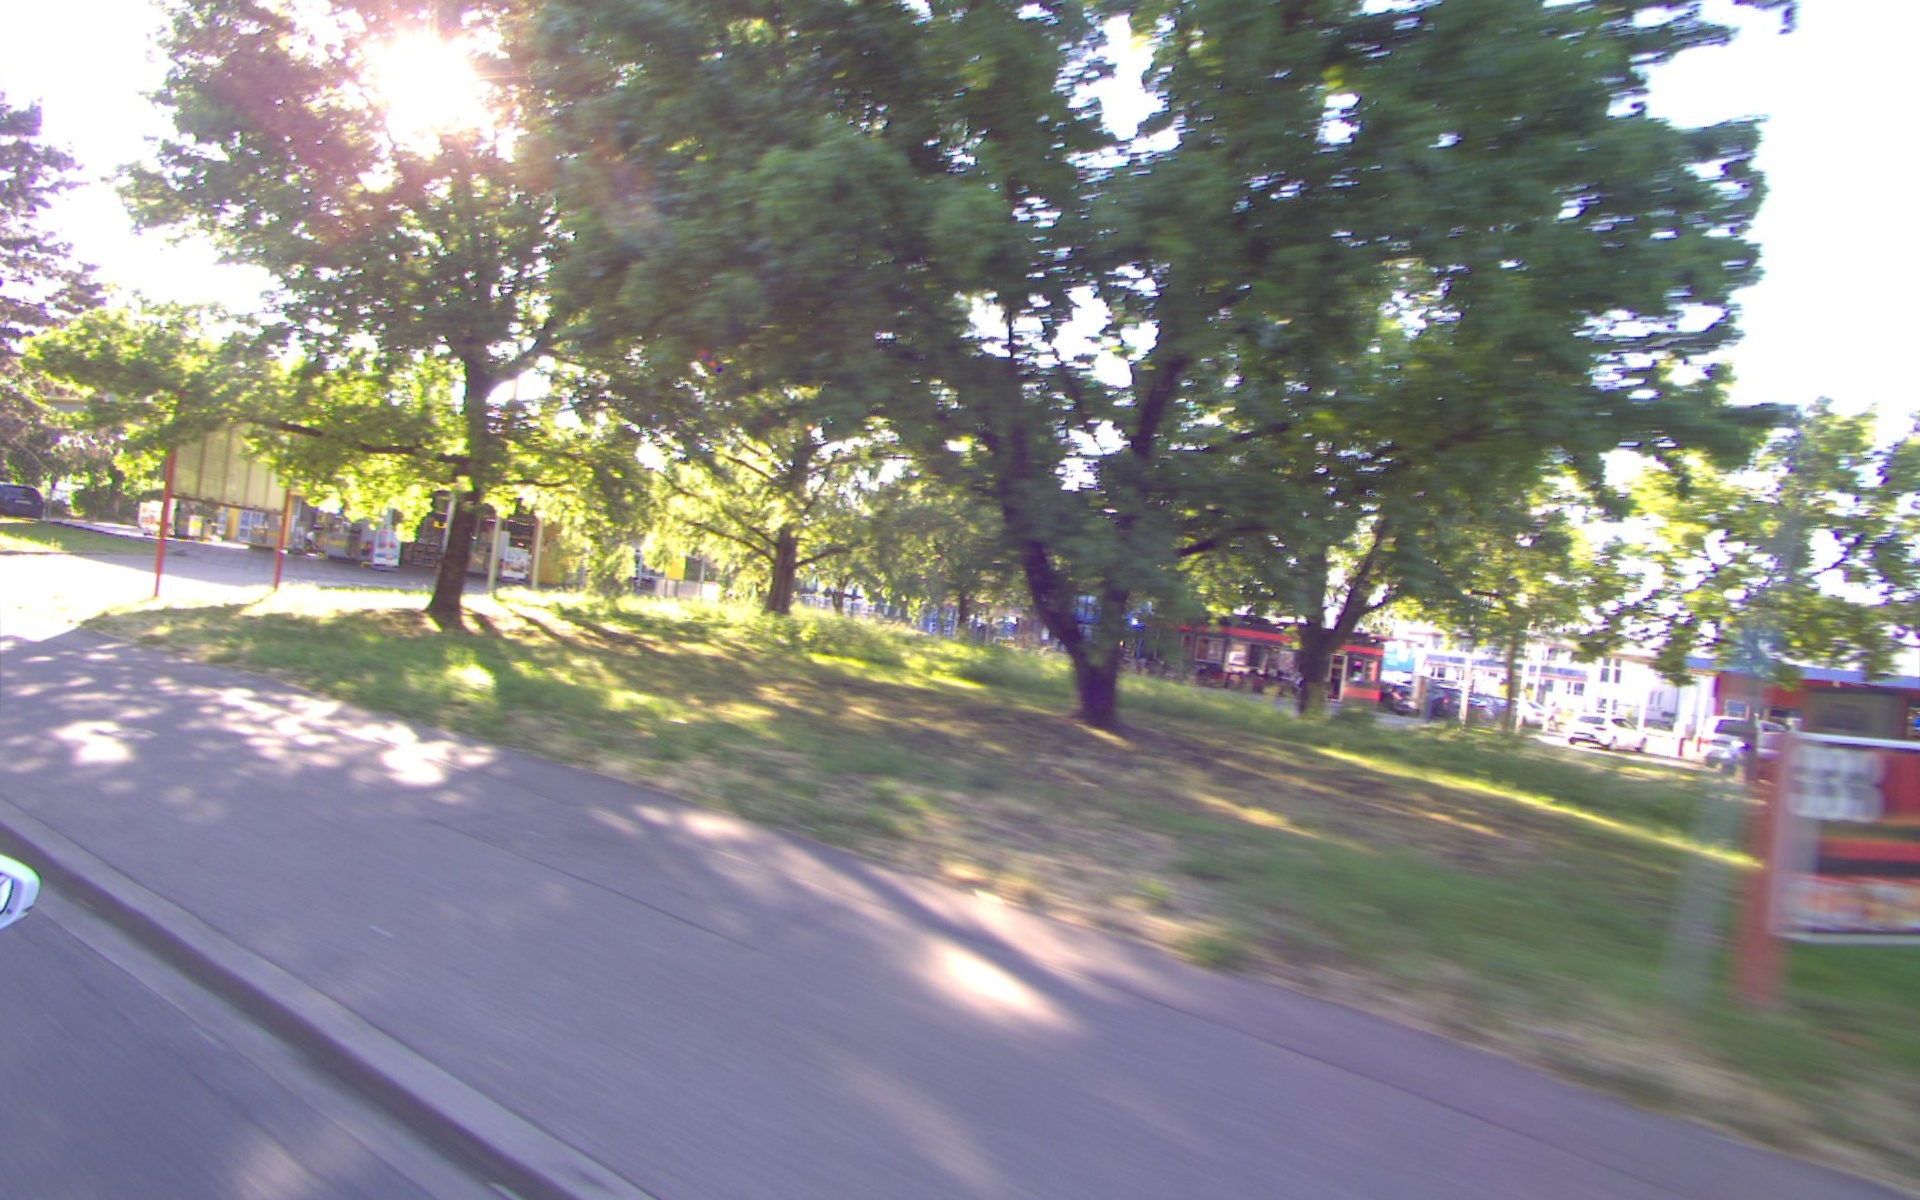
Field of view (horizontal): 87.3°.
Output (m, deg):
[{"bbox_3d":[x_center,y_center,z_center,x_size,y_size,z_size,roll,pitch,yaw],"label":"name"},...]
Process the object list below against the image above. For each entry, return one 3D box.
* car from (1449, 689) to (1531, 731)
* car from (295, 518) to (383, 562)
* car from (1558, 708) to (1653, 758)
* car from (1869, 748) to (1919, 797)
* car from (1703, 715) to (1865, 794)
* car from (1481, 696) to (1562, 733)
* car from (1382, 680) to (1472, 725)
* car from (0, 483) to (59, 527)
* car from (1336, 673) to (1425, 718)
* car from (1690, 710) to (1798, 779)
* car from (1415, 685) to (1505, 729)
[{"bbox_3d":[29.370,6.090,55.831,1.682,1.707,3.627,9,-3,-25],"label":"car"},{"bbox_3d":[-32.363,-3.125,52.403,4.321,1.749,1.816,7,0,27],"label":"car"},{"bbox_3d":[27.357,5.634,42.611,3.905,1.498,1.673,10,-3,-30],"label":"car"},{"bbox_3d":[32.438,5.951,33.840,3.517,1.365,1.673,10,-3,-29],"label":"car"},{"bbox_3d":[22.117,4.152,26.991,4.151,1.492,1.778,10,-3,-27],"label":"car"},{"bbox_3d":[32.004,6.526,57.456,1.682,1.478,3.627,10,-3,-25],"label":"car"},{"bbox_3d":[23.939,5.214,51.657,1.682,1.707,3.843,9,-3,-25],"label":"car"},{"bbox_3d":[-38.075,-3.905,40.170,3.932,1.437,1.845,7,-1,29],"label":"car"},{"bbox_3d":[21.037,4.759,50.448,1.682,1.707,3.843,9,-3,-25],"label":"car"},{"bbox_3d":[29.608,5.470,37.951,4.611,1.996,1.874,11,-3,-36],"label":"car"},{"bbox_3d":[26.089,5.552,52.586,1.682,1.707,3.843,9,-3,-25],"label":"car"}]
